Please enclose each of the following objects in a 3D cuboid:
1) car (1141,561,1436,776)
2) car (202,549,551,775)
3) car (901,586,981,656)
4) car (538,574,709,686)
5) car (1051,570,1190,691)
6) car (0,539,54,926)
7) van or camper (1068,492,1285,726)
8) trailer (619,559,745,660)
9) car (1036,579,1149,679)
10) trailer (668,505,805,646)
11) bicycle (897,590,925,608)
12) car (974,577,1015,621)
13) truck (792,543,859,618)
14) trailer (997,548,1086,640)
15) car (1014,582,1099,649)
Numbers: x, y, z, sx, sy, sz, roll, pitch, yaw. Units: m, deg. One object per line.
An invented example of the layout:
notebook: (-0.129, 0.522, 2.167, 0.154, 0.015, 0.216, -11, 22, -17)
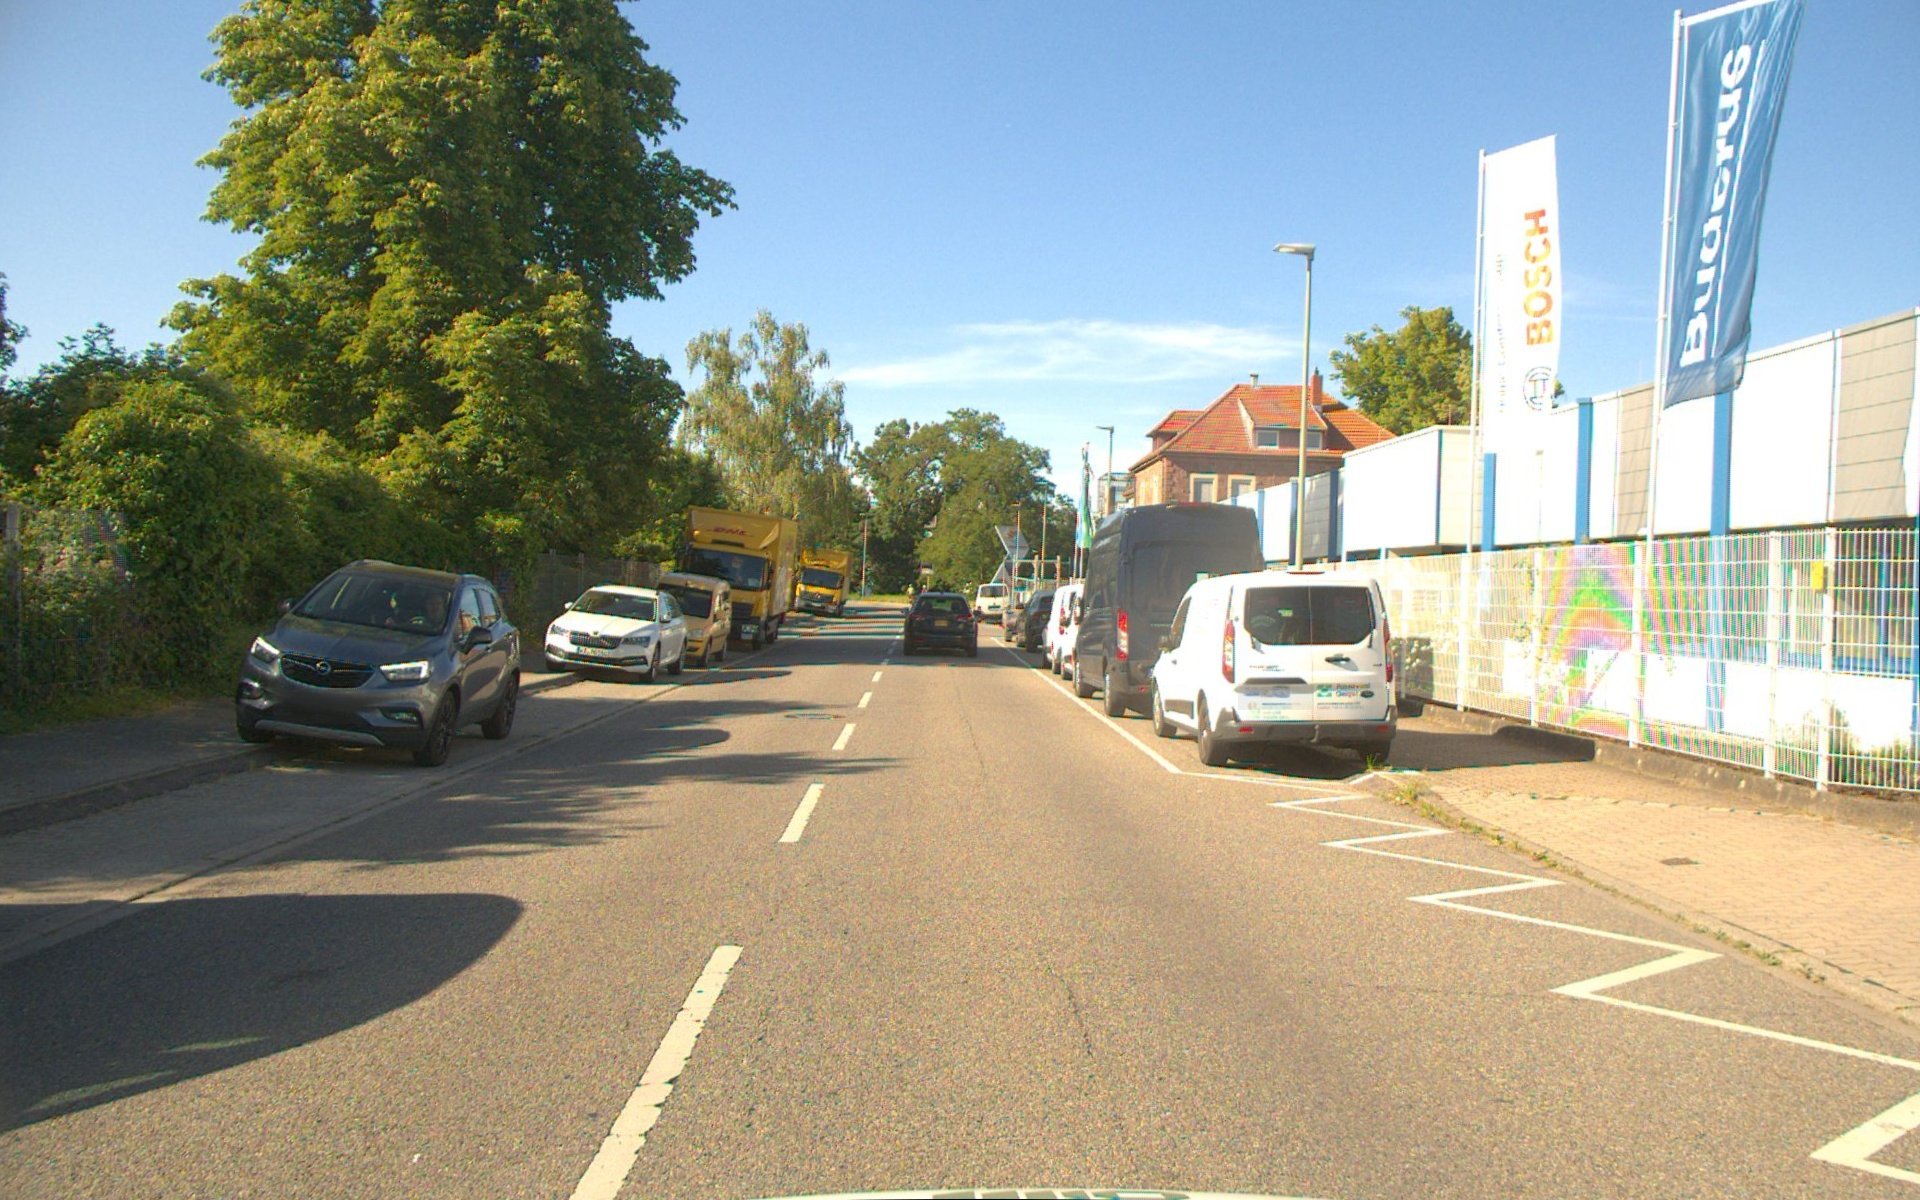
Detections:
car: (3.215, 0.609, 17.333, 1.848, 1.829, 5.102, 3, 0, -2)
car: (-5.391, 0.490, 15.970, 1.871, 1.691, 4.461, 6, 0, -3)
car: (-0.441, 0.463, 39.884, 1.809, 1.556, 4.000, 1, 1, 0)
car: (-5.829, 0.464, 29.299, 1.870, 1.620, 5.025, 6, 0, 0)
car: (2.777, 0.502, 29.758, 1.848, 1.879, 5.103, 3, 0, -1)
car: (-4.976, 0.535, 5.188, 1.758, 1.759, 4.797, 7, 0, -5)
van or camper: (2.910, 0.108, 23.766, 2.097, 2.807, 6.160, 3, 0, -1)
trailer: (-5.841, 0.185, 35.260, 1.953, 1.975, 4.414, 1, 0, -1)
car: (2.709, 0.572, 34.999, 1.818, 1.862, 5.167, 3, 0, -1)
trailer: (-6.068, -0.639, 46.162, 2.931, 3.503, 8.158, 1, 0, -2)
bicycle: (-3.652, -0.069, 123.498, 0.798, 1.242, 2.226, 3, 0, -40)
car: (1.708, -0.064, 83.820, 1.836, 2.048, 5.159, 3, 0, -1)
truck: (-7.211, -1.130, 89.740, 2.580, 3.563, 8.656, 7, 1, -1)
trailer: (2.554, -0.196, 53.279, 2.410, 2.719, 5.700, 1, 0, -1)
car: (2.667, 0.412, 46.736, 1.954, 1.696, 4.730, 3, 0, -1)
